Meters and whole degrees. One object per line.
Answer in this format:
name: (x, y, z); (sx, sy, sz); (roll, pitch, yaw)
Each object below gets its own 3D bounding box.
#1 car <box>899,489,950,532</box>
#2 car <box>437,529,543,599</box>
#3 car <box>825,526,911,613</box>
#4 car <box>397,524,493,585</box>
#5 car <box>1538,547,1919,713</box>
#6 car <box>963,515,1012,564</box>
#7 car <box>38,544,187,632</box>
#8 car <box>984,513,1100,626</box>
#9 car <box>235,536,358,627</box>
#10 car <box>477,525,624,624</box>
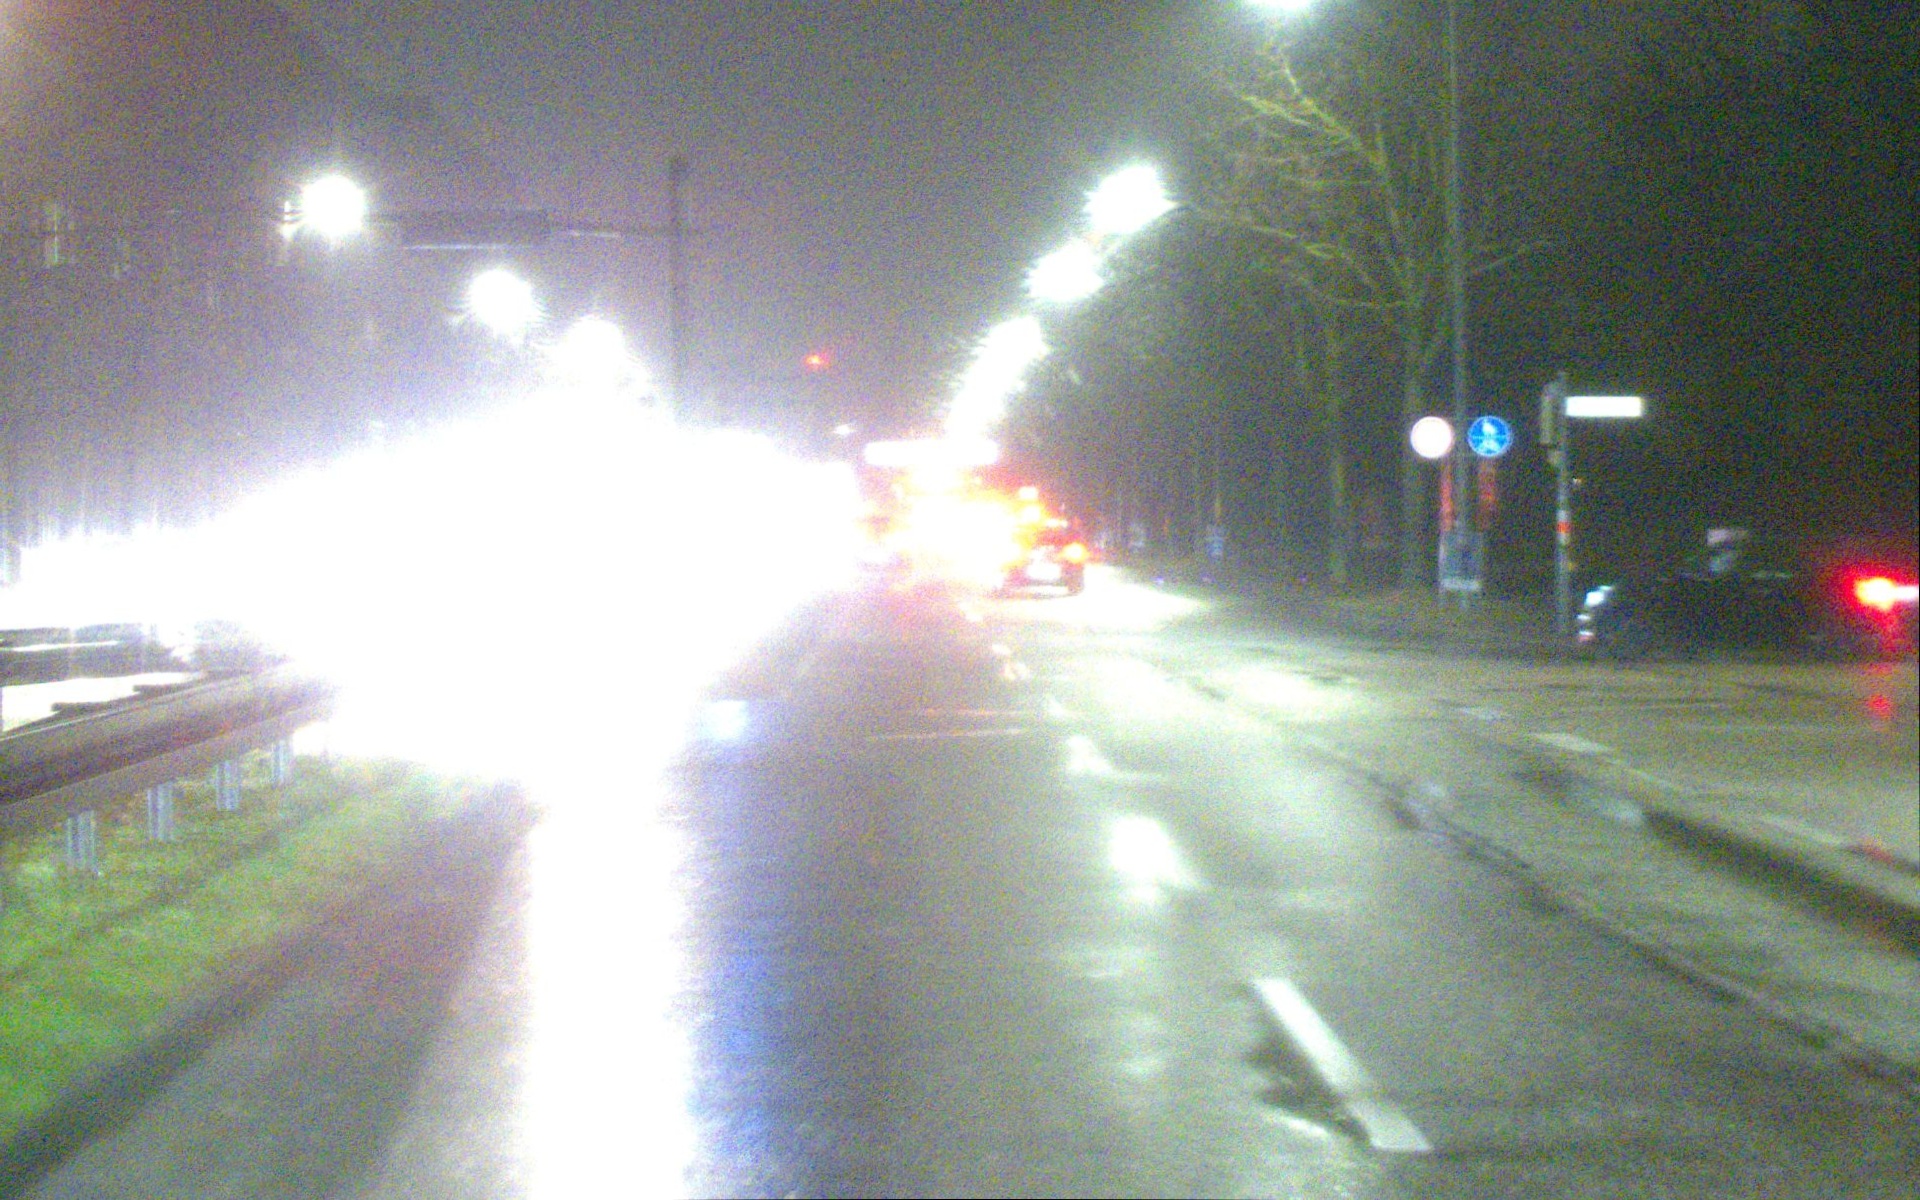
car: (-1.927, -4.794, 184.634); (2.441, 2.186, 5.079); (0, 0, -3)
car: (-10.788, -0.823, 79.111); (1.885, 1.547, 4.433); (0, 0, -1)
car: (-2.158, -0.711, 81.549); (1.993, 2.007, 4.000); (0, 0, -1)
car: (-13.332, -1.163, 89.222); (1.885, 1.547, 4.433); (0, 0, -1)
car: (8.668, 0.304, 38.401); (3.992, 1.774, 1.906); (0, 0, 26)
car: (1.185, -2.561, 145.681); (2.038, 2.007, 4.307); (0, 0, 1)
car: (-15.527, -0.226, 63.154); (1.800, 1.559, 4.000); (0, 0, -1)
car: (1.626, -0.608, 69.153); (2.208, 2.207, 3.643); (0, 0, 0)
car: (-13.112, -0.376, 68.156); (1.749, 1.703, 4.499); (-2, 1, -3)
car: (-6.898, -0.438, 58.326); (1.993, 1.604, 4.971); (0, 0, -1)
